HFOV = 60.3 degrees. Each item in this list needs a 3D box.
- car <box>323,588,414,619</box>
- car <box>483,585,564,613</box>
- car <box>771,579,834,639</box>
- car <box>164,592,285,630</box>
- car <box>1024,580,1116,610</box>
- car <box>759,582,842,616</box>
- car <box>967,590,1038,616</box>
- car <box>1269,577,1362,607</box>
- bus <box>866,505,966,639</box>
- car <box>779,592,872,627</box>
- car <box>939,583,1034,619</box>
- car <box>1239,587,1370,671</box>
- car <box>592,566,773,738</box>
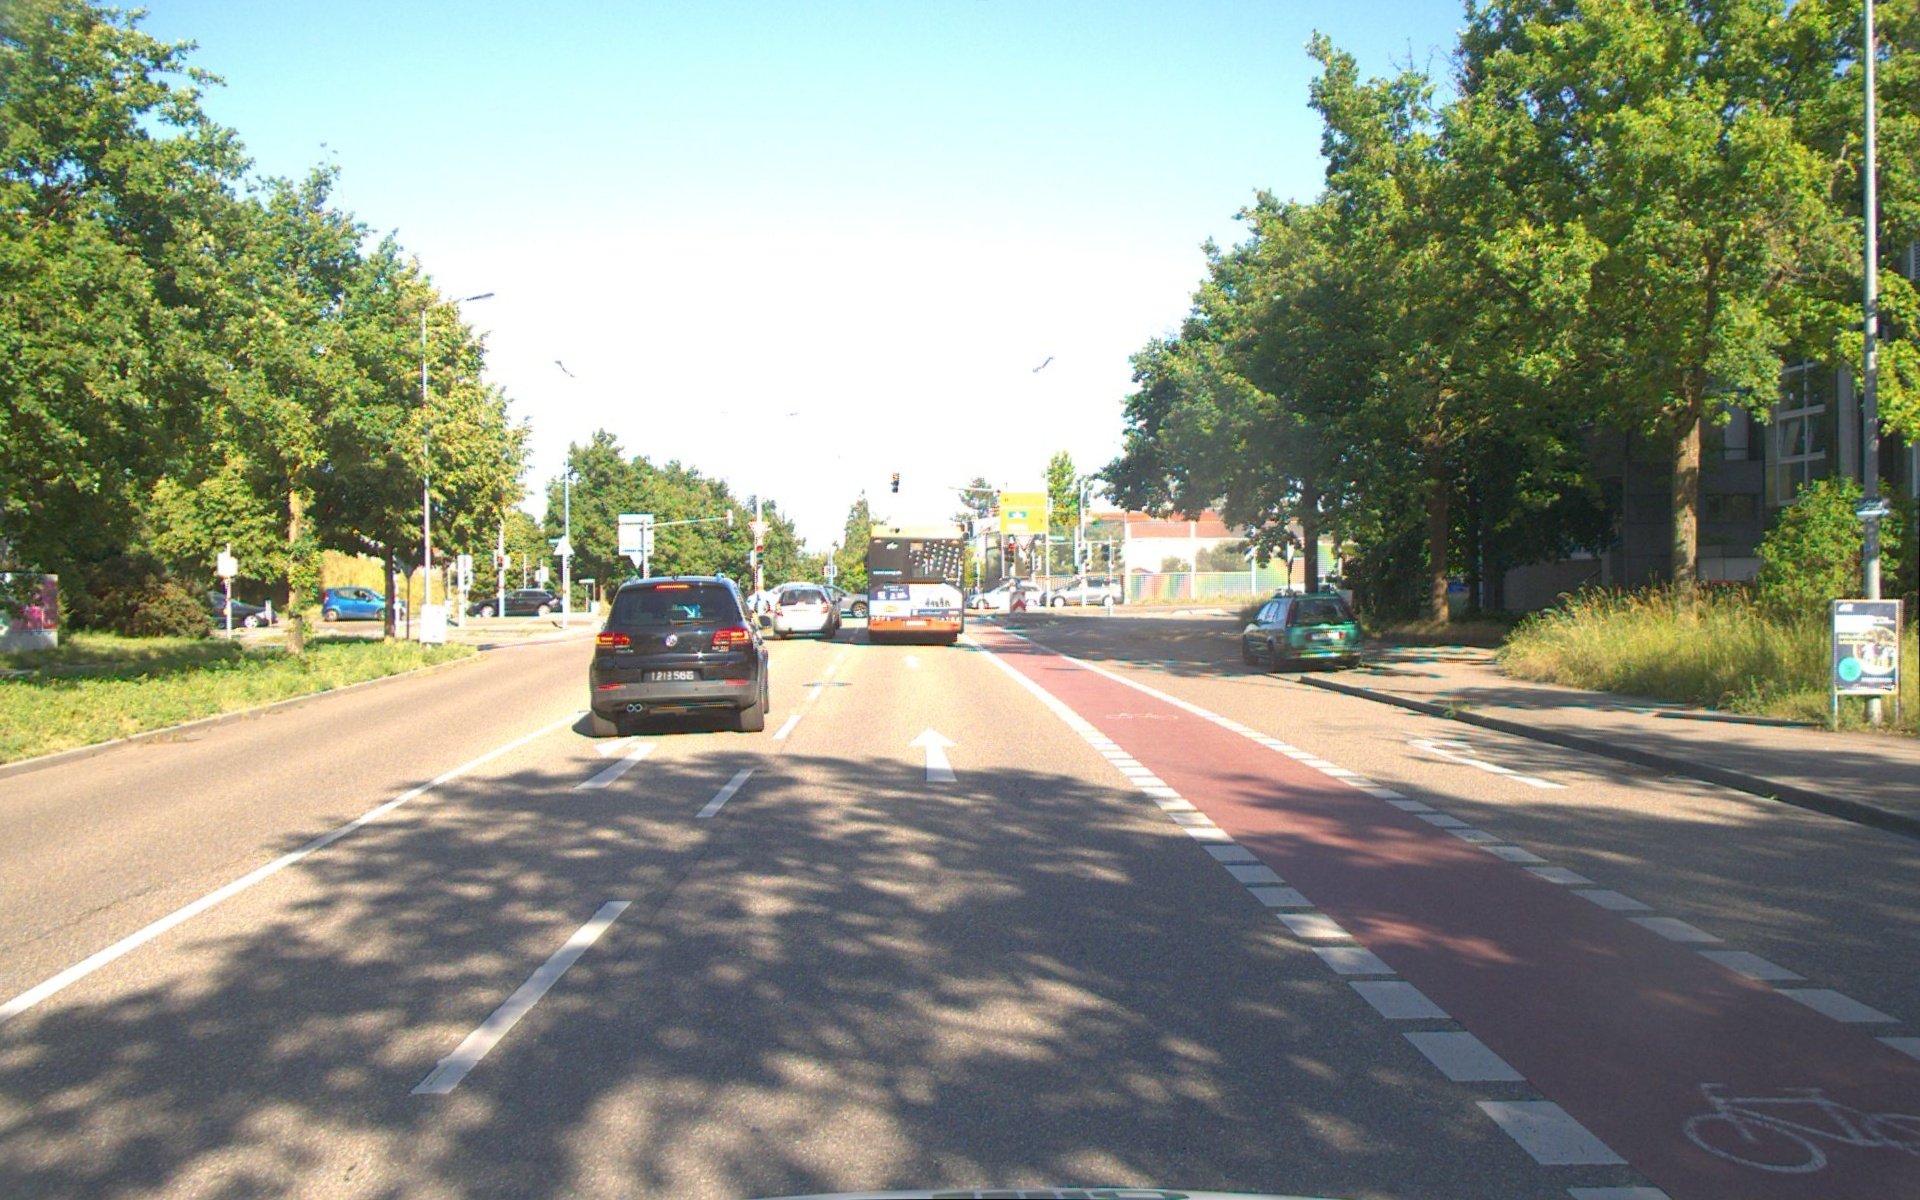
[{"bbox_3d":[-27.880,0.173,78.051,3.777,1.409,1.678,0,0,-11],"label":"car"},{"bbox_3d":[-22.223,-0.056,84.347,3.821,1.363,1.678,0,0,-11],"label":"car"},{"bbox_3d":[-4.793,0.245,50.069,1.721,1.648,4.027,-1,2,-8],"label":"car"},{"bbox_3d":[-31.378,0.444,70.687,4.377,1.466,1.680,-1,1,-7],"label":"car"},{"bbox_3d":[5.903,-0.264,89.067,4.614,1.567,1.997,-1,0,-8],"label":"car"},{"bbox_3d":[-8.356,-0.047,86.765,4.299,1.713,1.709,0,0,-7],"label":"car"},{"bbox_3d":[2.354,0.167,91.822,3.773,1.363,1.680,0,0,-8],"label":"car"},{"bbox_3d":[19.533,-0.456,90.888,4.611,1.567,1.998,-1,0,-6],"label":"car"},{"bbox_3d":[-1.328,-0.772,48.116,2.544,3.392,11.979,0,1,-2],"label":"bus"},{"bbox_3d":[-6.073,0.423,74.595,4.140,1.506,1.761,0,0,-7],"label":"car"},{"bbox_3d":[1.010,0.045,62.236,3.447,1.325,1.576,0,0,6],"label":"car"},{"bbox_3d":[6.605,0.519,32.117,1.560,1.453,4.203,-2,0,-1],"label":"car"},{"bbox_3d":[-3.042,0.536,18.762,1.786,1.703,3.997,-1,0,-7],"label":"car"}]
